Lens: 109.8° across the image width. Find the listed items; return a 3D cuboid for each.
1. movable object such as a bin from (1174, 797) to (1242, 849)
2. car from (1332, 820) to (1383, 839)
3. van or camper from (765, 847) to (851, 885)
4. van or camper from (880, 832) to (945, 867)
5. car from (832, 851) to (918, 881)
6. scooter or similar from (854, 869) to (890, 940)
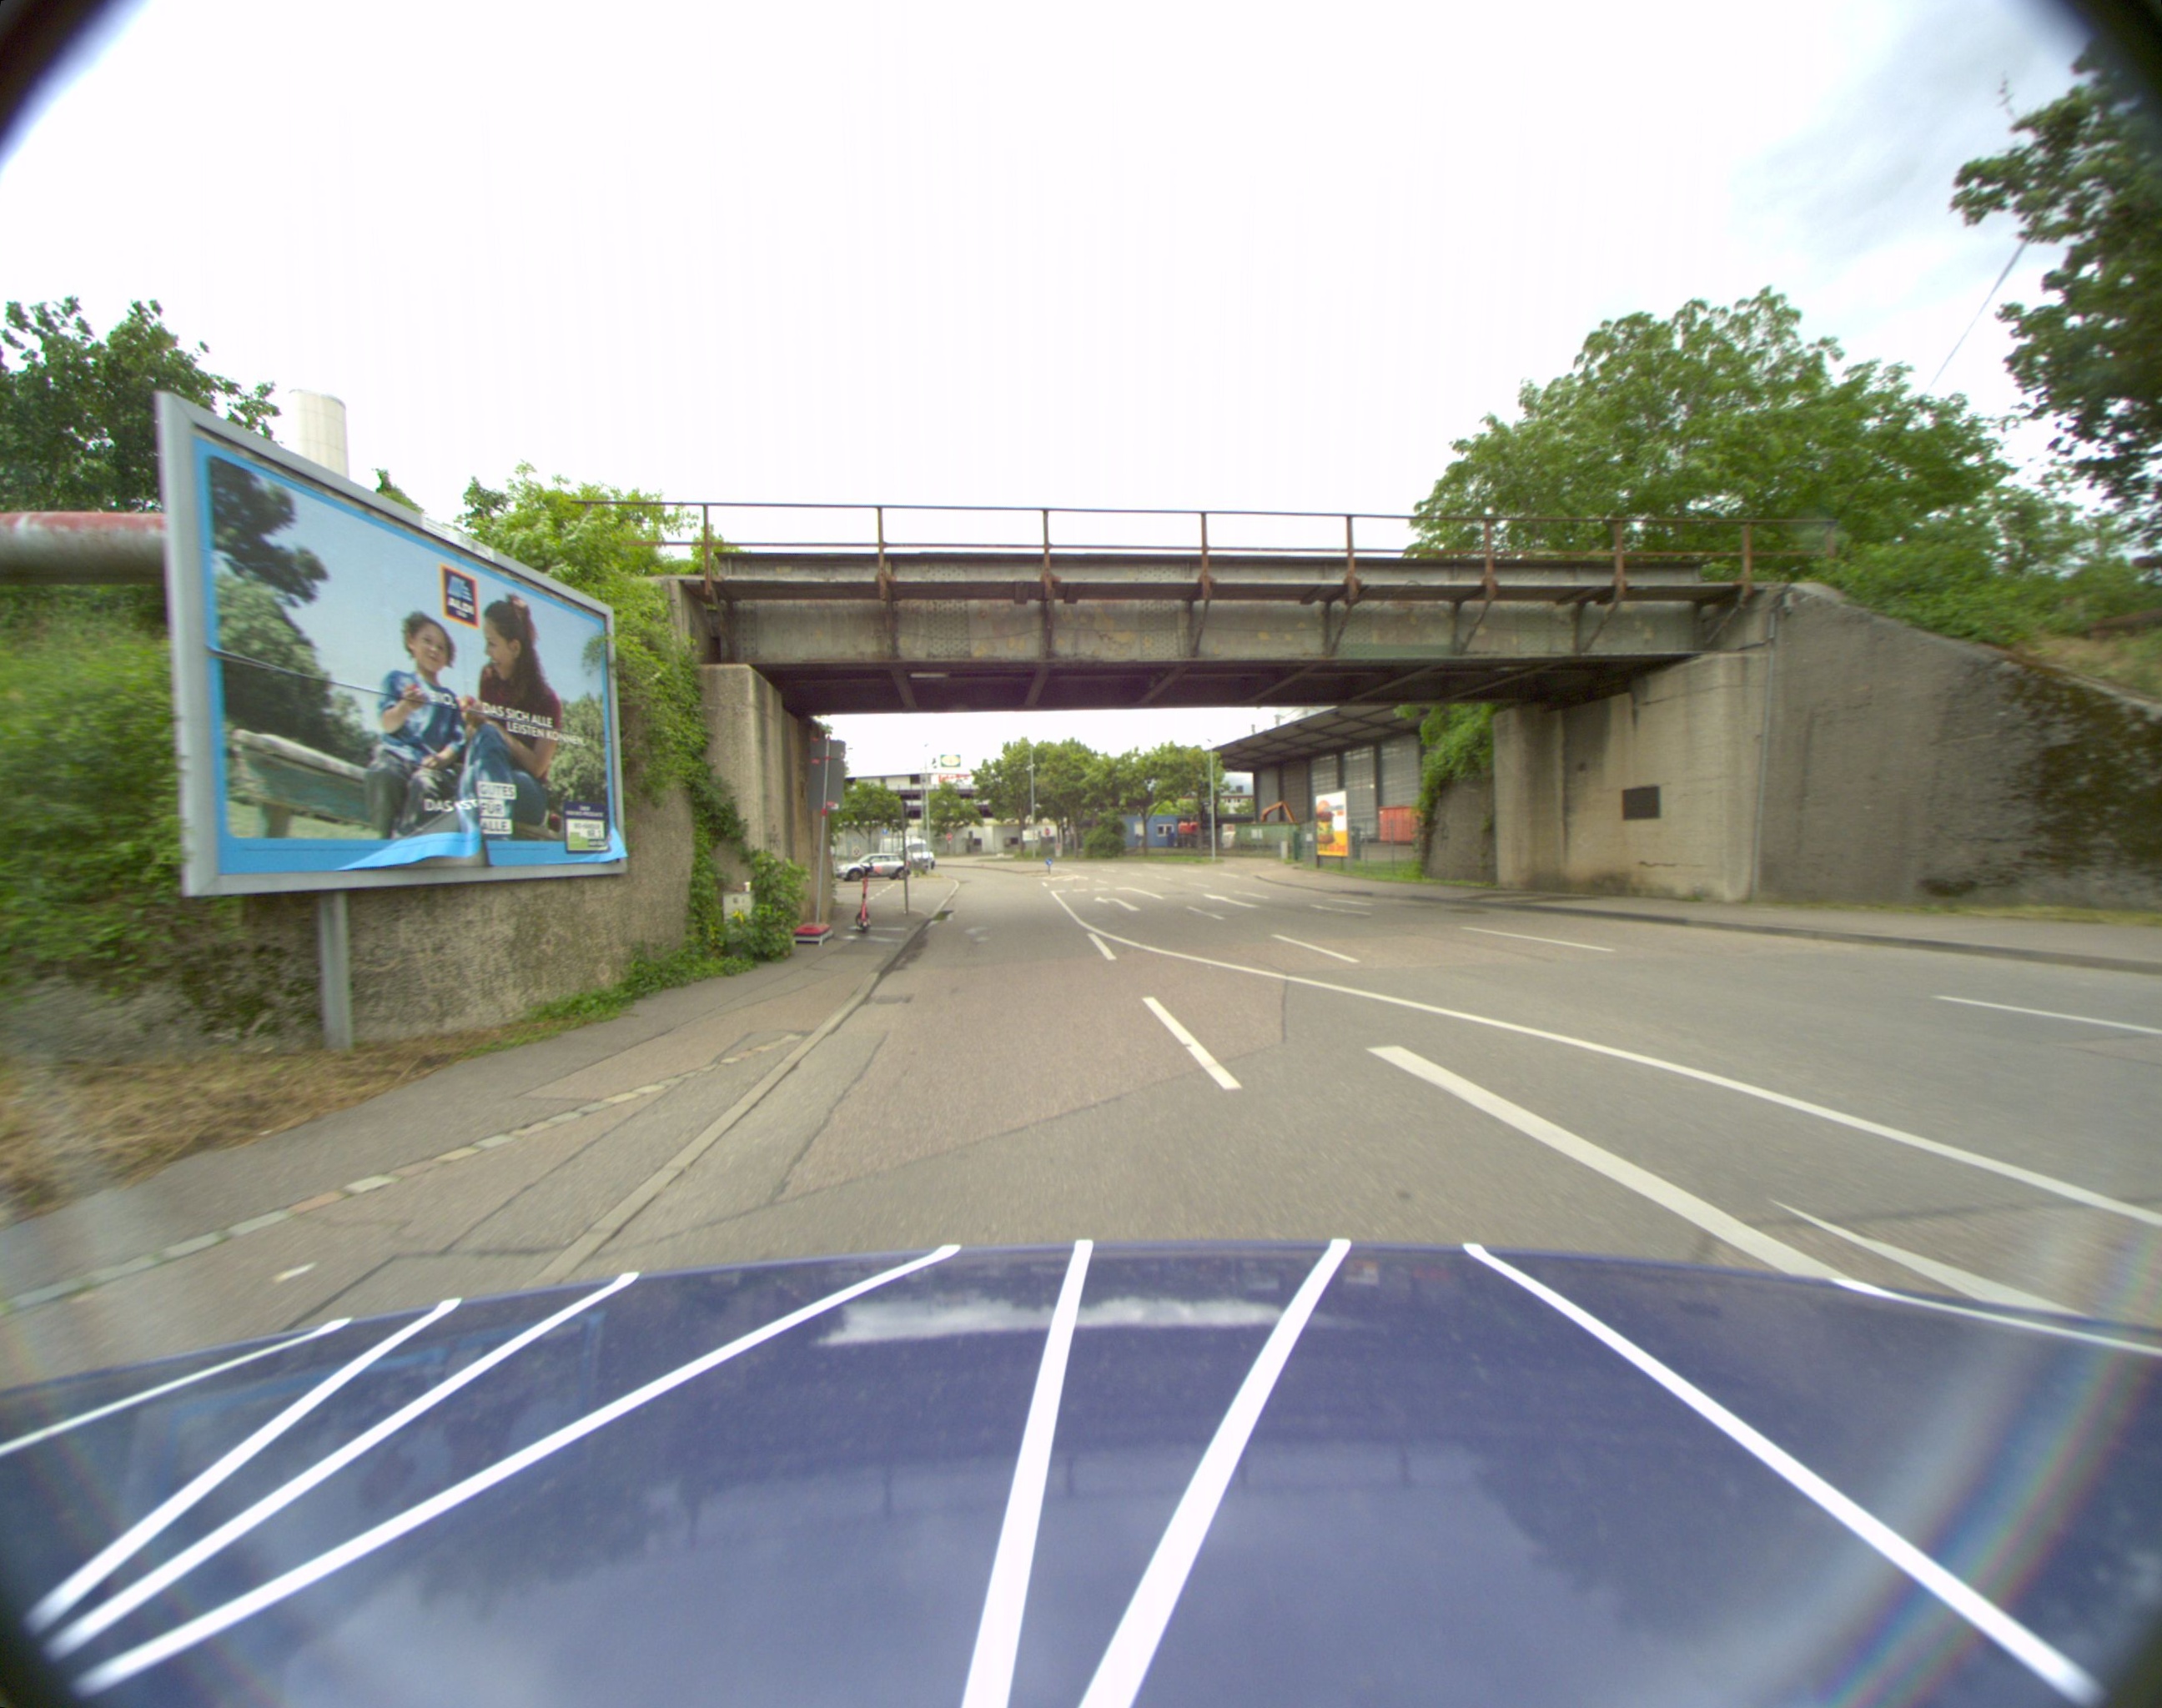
[{"bbox_3d":[10.783,-2.557,65.084,2.736,4.067,6.541,-2,0,-21],"label":"movable object such as a bin"},{"bbox_3d":[21.037,-1.842,58.004,1.739,1.366,3.994,-2,1,-14],"label":"car"},{"bbox_3d":[-13.339,0.560,36.999,4.493,1.685,1.836,-1,2,40],"label":"van or camper"},{"bbox_3d":[-13.294,-0.312,59.630,2.277,2.543,6.091,-4,2,-40],"label":"van or camper"},{"bbox_3d":[-10.942,0.607,40.365,4.027,1.423,1.782,-2,1,-32],"label":"car"},{"bbox_3d":[-4.002,0.930,14.518,0.506,1.229,1.667,2,0,-20],"label":"scooter or similar"}]
